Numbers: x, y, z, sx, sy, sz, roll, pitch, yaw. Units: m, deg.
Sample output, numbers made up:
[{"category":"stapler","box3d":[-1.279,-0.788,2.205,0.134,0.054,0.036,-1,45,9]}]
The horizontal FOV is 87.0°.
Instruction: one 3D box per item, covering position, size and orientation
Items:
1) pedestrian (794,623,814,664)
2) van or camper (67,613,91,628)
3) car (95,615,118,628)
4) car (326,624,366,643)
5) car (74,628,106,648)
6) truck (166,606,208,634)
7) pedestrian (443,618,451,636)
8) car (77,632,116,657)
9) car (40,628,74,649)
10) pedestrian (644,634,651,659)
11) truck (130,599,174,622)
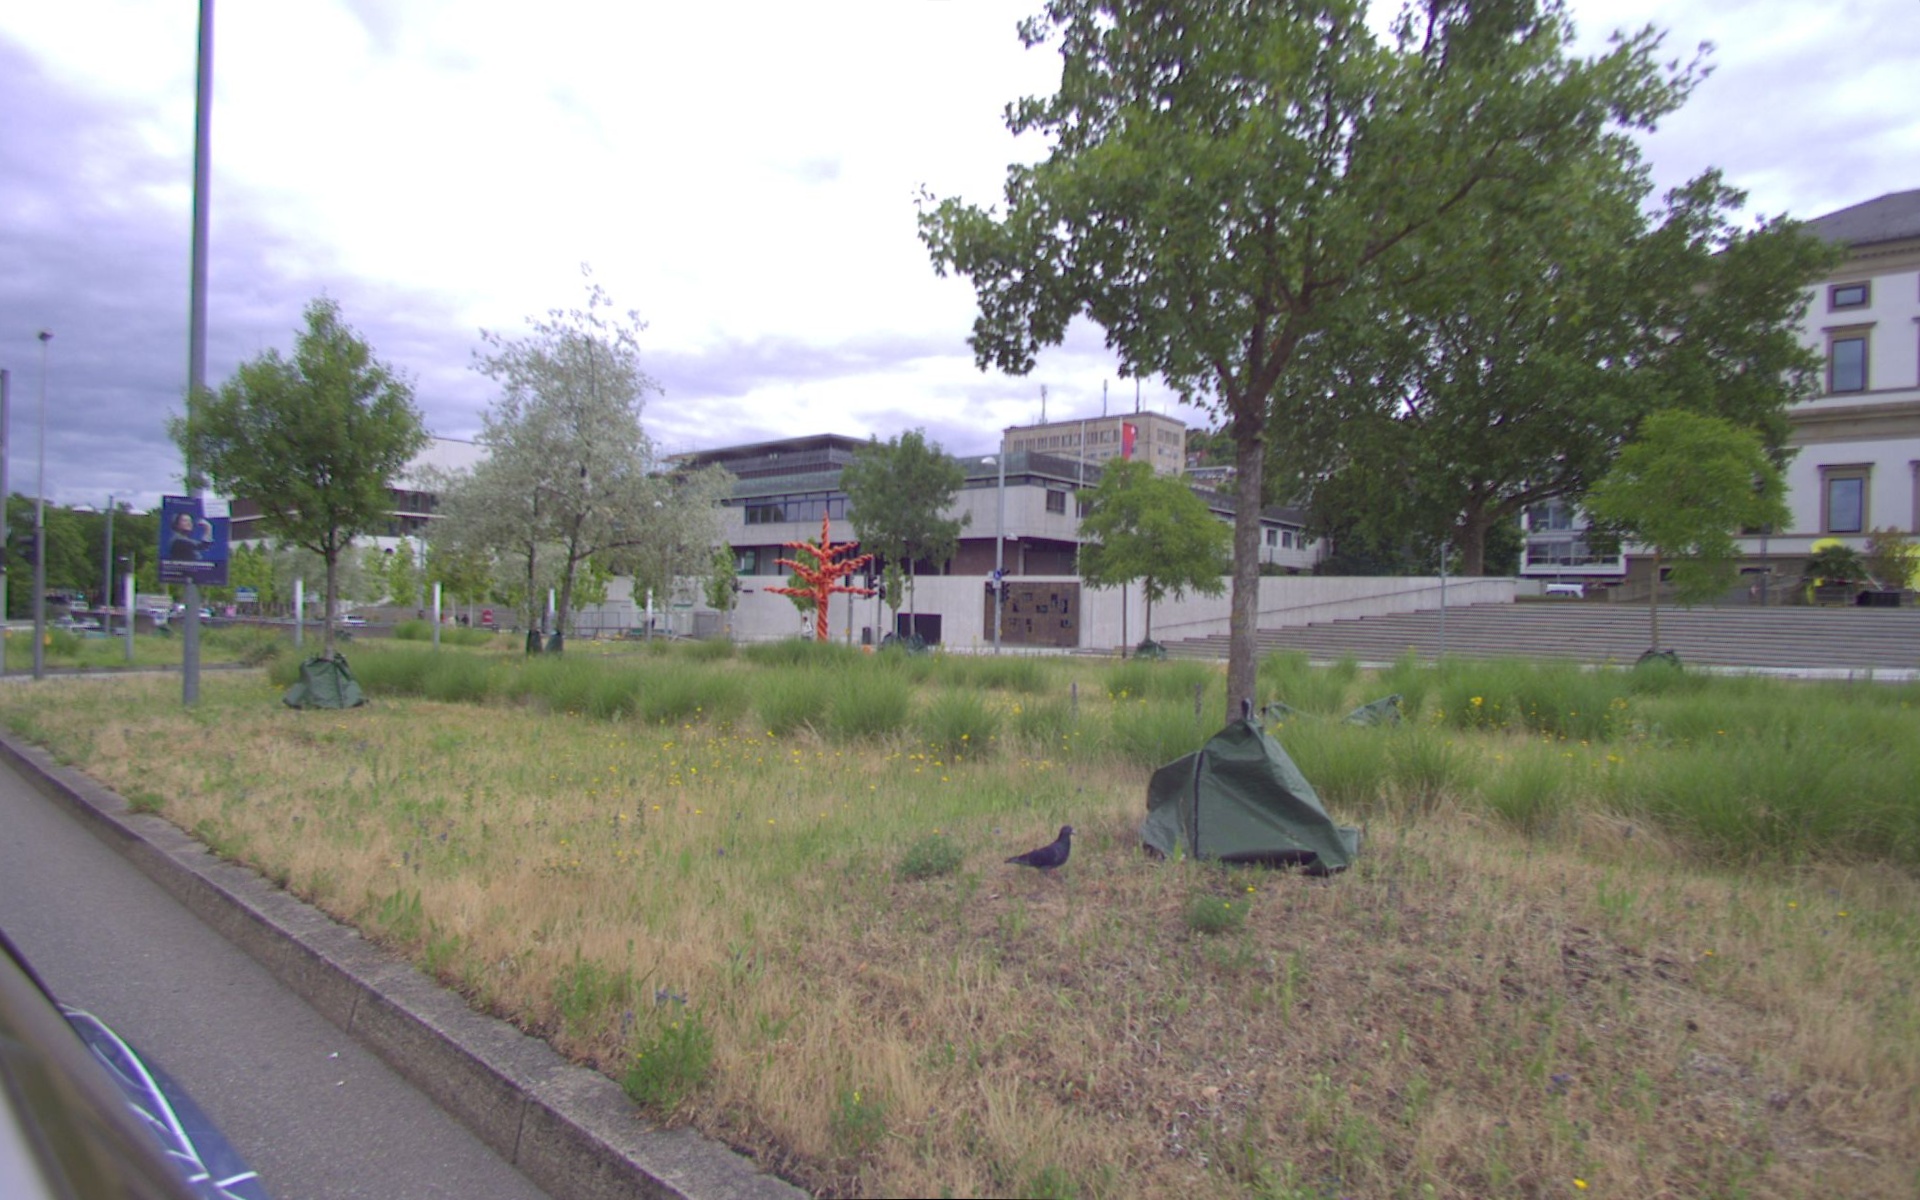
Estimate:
[{"category":"pedestrian","box3d":[-6.742,1.857,43.659,0.663,1.747,0.534,-2,-1,41]},{"category":"van or camper","box3d":[-120.693,2.820,138.648,4.555,2.029,1.973,-2,-2,41]},{"category":"car","box3d":[-107.462,2.658,127.357,4.269,1.586,1.700,-2,-2,43]},{"category":"car","box3d":[-52.806,2.901,87.027,4.612,1.586,1.700,-2,-2,43]},{"category":"car","box3d":[-93.648,4.071,108.980,3.998,2.029,1.972,-2,-5,41]},{"category":"truck","box3d":[-82.227,2.137,107.593,7.077,2.838,2.437,-2,-2,43]},{"category":"pedestrian","box3d":[-42.478,2.228,83.847,0.461,1.533,0.424,-1,0,35]},{"category":"car","box3d":[-75.303,3.873,88.228,3.998,2.029,1.972,-2,-5,41]},{"category":"car","box3d":[-92.402,3.909,103.576,4.331,2.029,1.972,-2,-5,41]},{"category":"pedestrian","box3d":[-19.556,2.920,63.293,0.316,1.533,0.314,-1,0,35]},{"category":"truck","box3d":[-102.707,1.376,128.596,7.251,2.809,3.196,-2,-2,42]}]
